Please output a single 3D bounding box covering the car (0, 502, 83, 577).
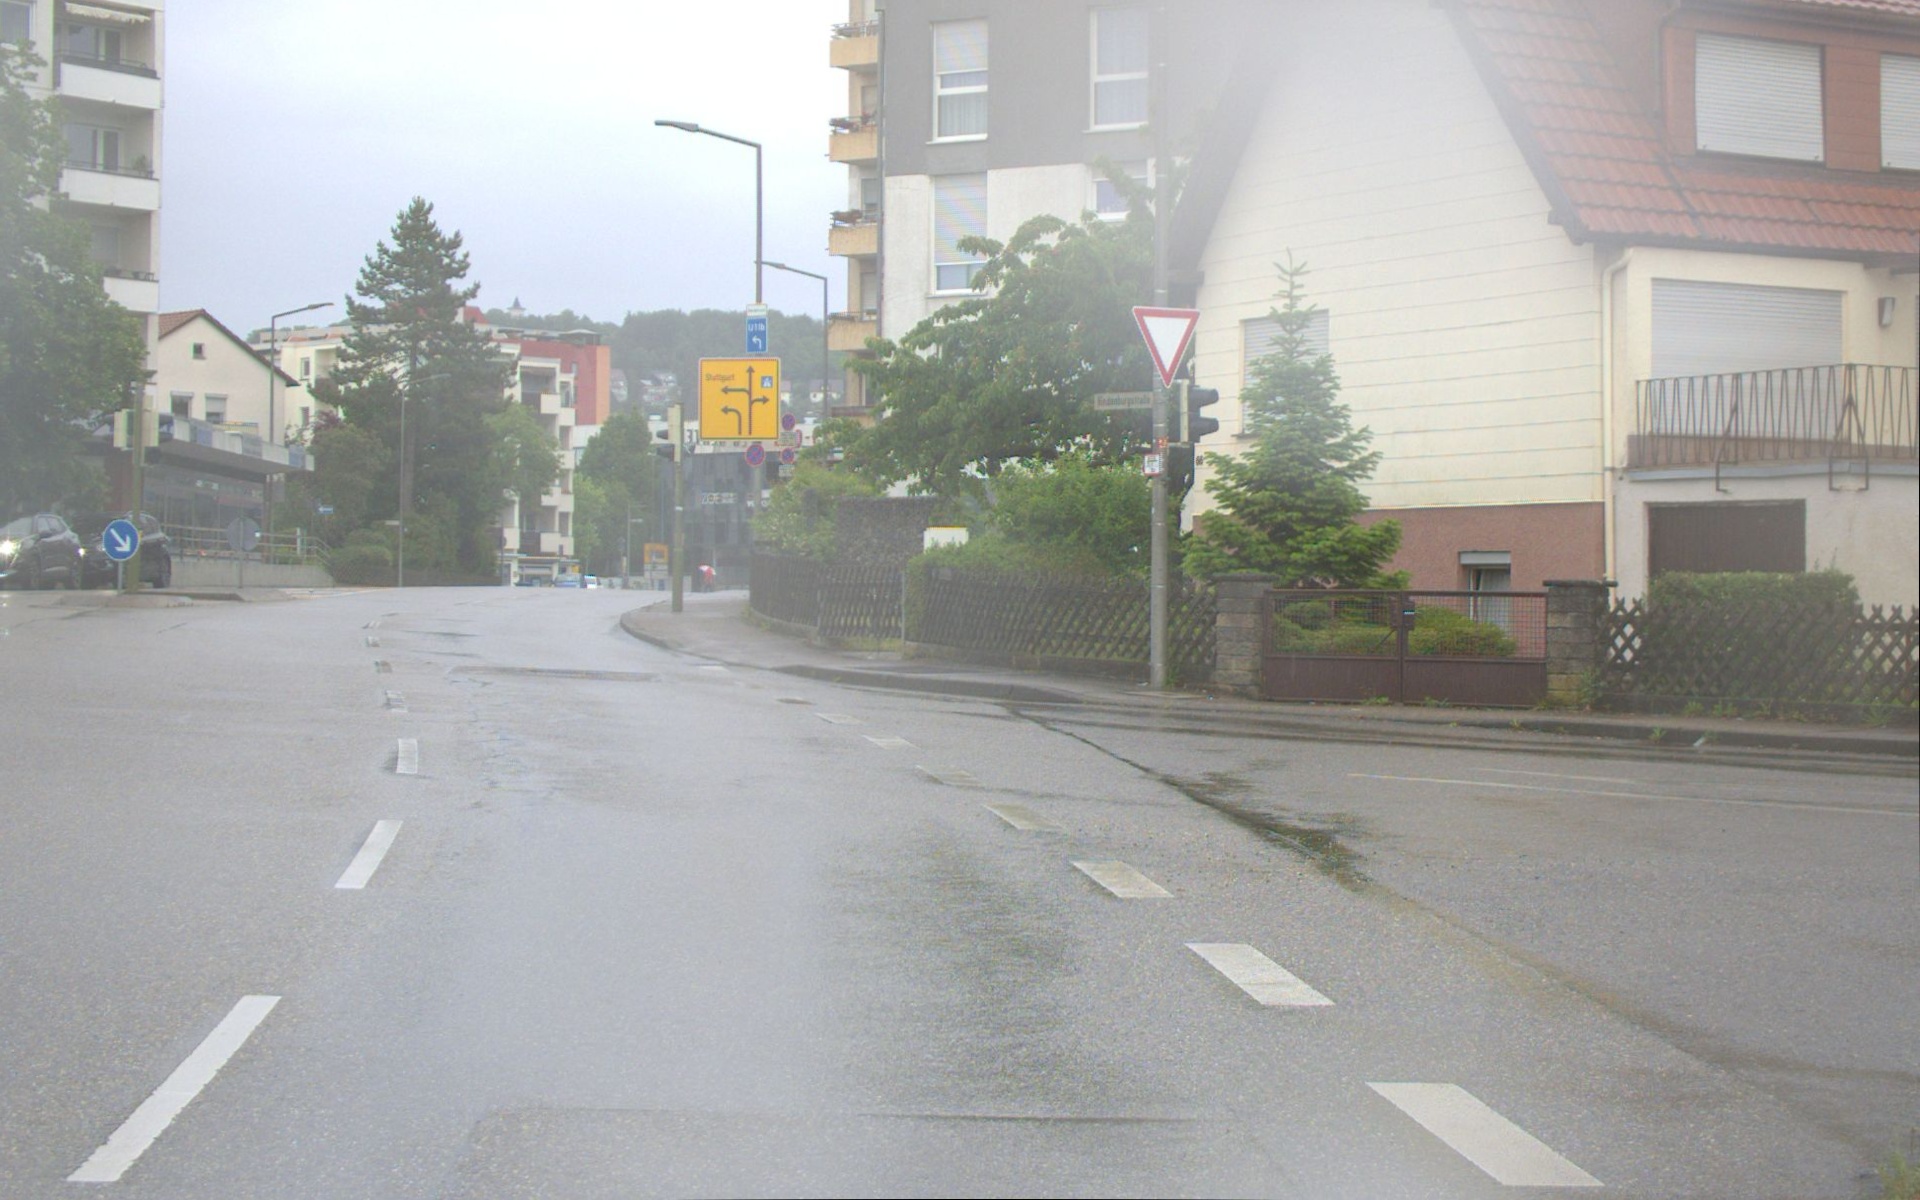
[{"bbox_3d":[-18.093,-1.178,65.591,1.715,1.382,4.021,1,1,-1],"label":"car"}]

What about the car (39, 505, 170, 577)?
[{"bbox_3d":[-17.737,-1.237,71.407,1.778,1.415,3.831,1,1,-1],"label":"car"}]
